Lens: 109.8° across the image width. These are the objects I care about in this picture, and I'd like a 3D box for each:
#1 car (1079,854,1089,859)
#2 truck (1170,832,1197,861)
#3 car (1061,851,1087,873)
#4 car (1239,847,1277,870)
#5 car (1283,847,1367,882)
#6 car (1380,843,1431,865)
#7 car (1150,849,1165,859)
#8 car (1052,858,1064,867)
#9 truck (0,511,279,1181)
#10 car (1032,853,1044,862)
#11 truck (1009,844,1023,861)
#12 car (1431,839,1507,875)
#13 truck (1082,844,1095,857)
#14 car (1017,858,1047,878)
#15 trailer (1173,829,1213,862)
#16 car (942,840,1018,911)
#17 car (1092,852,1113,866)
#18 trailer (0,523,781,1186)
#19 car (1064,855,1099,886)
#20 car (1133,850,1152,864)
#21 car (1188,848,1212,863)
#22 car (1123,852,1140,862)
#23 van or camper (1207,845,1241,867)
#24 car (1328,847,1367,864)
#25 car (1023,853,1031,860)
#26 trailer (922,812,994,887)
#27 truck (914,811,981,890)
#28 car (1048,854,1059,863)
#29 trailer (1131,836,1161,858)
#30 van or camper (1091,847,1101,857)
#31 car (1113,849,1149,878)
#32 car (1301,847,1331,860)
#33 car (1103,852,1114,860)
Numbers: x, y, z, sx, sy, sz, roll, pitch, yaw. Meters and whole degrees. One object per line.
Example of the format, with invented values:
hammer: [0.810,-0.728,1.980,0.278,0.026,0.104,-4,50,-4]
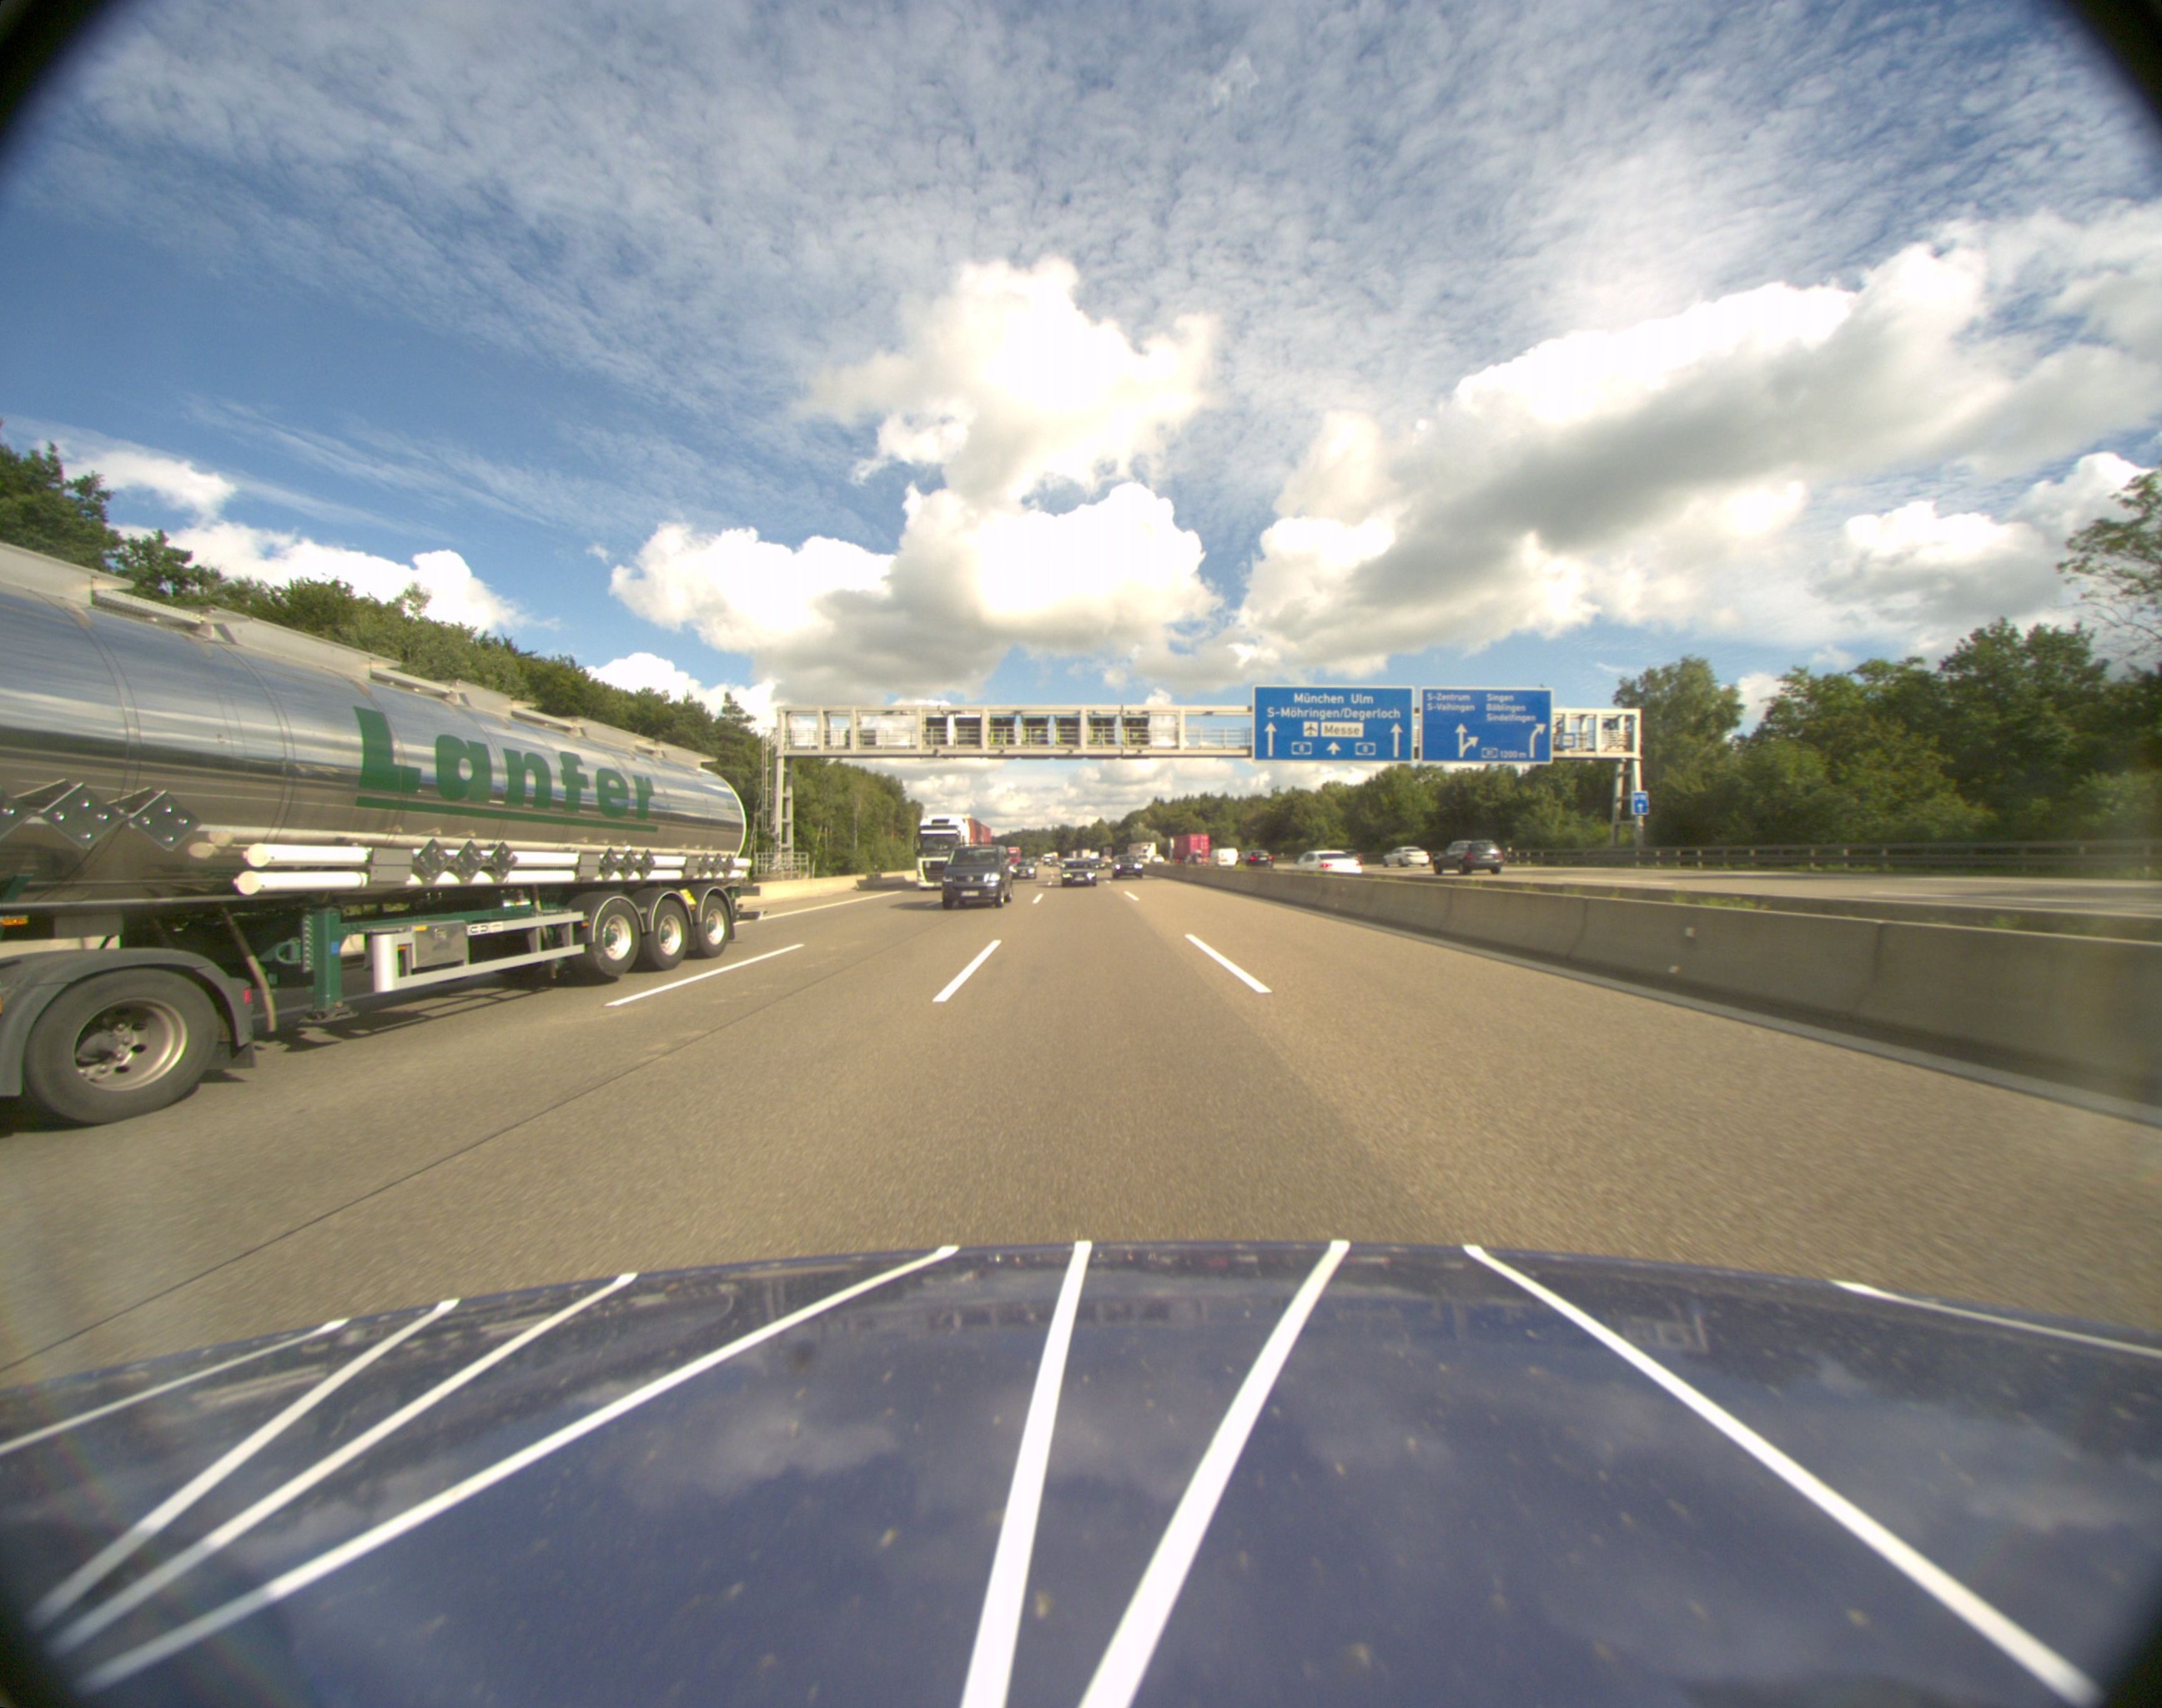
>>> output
car: [0.820,0.569,192.676,1.817,1.154,4.512,-2,0,-8]
truck: [14.790,-1.050,109.630,2.746,4.083,5.763,-2,0,-2]
car: [-0.664,0.680,68.811,2.153,1.800,5.098,-2,1,-1]
car: [13.230,0.337,56.980,1.703,1.620,4.498,-2,0,0]
car: [10.013,0.410,31.593,1.728,1.302,4.880,-2,0,-2]
car: [24.457,-0.028,57.415,1.821,1.536,5.131,-2,0,2]
car: [13.227,-0.015,132.068,1.799,1.608,5.043,-2,0,-3]
car: [-4.189,1.624,138.825,2.153,1.540,4.676,-2,0,-2]
truck: [-7.470,-0.029,2.706,2.655,3.801,6.081,-1,0,0]
car: [-8.149,0.677,143.193,2.153,1.540,4.675,-2,0,-4]
truck: [-14.531,-0.248,170.016,3.019,3.662,7.557,-1,0,-5]
car: [19.528,0.128,38.442,1.670,1.630,4.479,-2,0,2]
truck: [2.376,-1.194,250.776,2.827,4.070,13.838,-2,0,-5]
car: [-3.830,1.035,58.762,2.153,1.426,5.097,-2,0,-4]
trailer: [15.034,-1.057,103.245,2.746,4.082,13.412,-2,0,-2]
car: [-3.256,0.643,25.446,1.854,2.097,4.932,-2,0,0]
car: [2.581,0.592,90.869,2.153,1.540,4.676,-2,0,-2]
trailer: [-7.396,0.015,9.215,2.655,3.745,11.859,-1,0,0]
car: [0.014,0.833,40.520,1.733,1.500,4.727,-2,0,-1]
car: [7.740,0.331,95.848,1.774,1.639,4.518,-2,0,-2]
car: [12.850,0.139,82.128,1.703,1.519,4.684,-2,0,-1]
car: [7.257,0.423,110.019,1.798,1.367,4.547,-2,0,-3]
van or camper: [12.771,0.176,68.239,1.867,1.839,5.154,-2,0,-2]
car: [24.019,0.125,68.551,1.706,1.432,4.706,-2,0,-2]
car: [-15.886,0.760,222.344,2.154,1.806,4.675,-2,0,-5]
trailer: [-7.501,-0.252,48.414,2.781,4.021,13.710,-2,0,-2]
truck: [-7.268,-0.191,42.001,2.781,4.021,5.772,-2,0,-2]
car: [-6.330,1.009,172.511,2.154,1.806,4.675,-2,0,-5]
trailer: [12.871,-1.407,151.619,3.327,4.082,14.147,-2,0,-5]
van or camper: [4.601,-0.675,228.419,2.374,2.789,6.595,-2,0,-3]
car: [3.376,0.622,52.630,2.153,1.800,5.098,-2,1,1]
car: [24.456,-0.058,79.270,1.706,1.280,4.182,-2,0,-2]
car: [5.177,0.291,142.221,1.774,1.433,4.850,-2,0,-1]
